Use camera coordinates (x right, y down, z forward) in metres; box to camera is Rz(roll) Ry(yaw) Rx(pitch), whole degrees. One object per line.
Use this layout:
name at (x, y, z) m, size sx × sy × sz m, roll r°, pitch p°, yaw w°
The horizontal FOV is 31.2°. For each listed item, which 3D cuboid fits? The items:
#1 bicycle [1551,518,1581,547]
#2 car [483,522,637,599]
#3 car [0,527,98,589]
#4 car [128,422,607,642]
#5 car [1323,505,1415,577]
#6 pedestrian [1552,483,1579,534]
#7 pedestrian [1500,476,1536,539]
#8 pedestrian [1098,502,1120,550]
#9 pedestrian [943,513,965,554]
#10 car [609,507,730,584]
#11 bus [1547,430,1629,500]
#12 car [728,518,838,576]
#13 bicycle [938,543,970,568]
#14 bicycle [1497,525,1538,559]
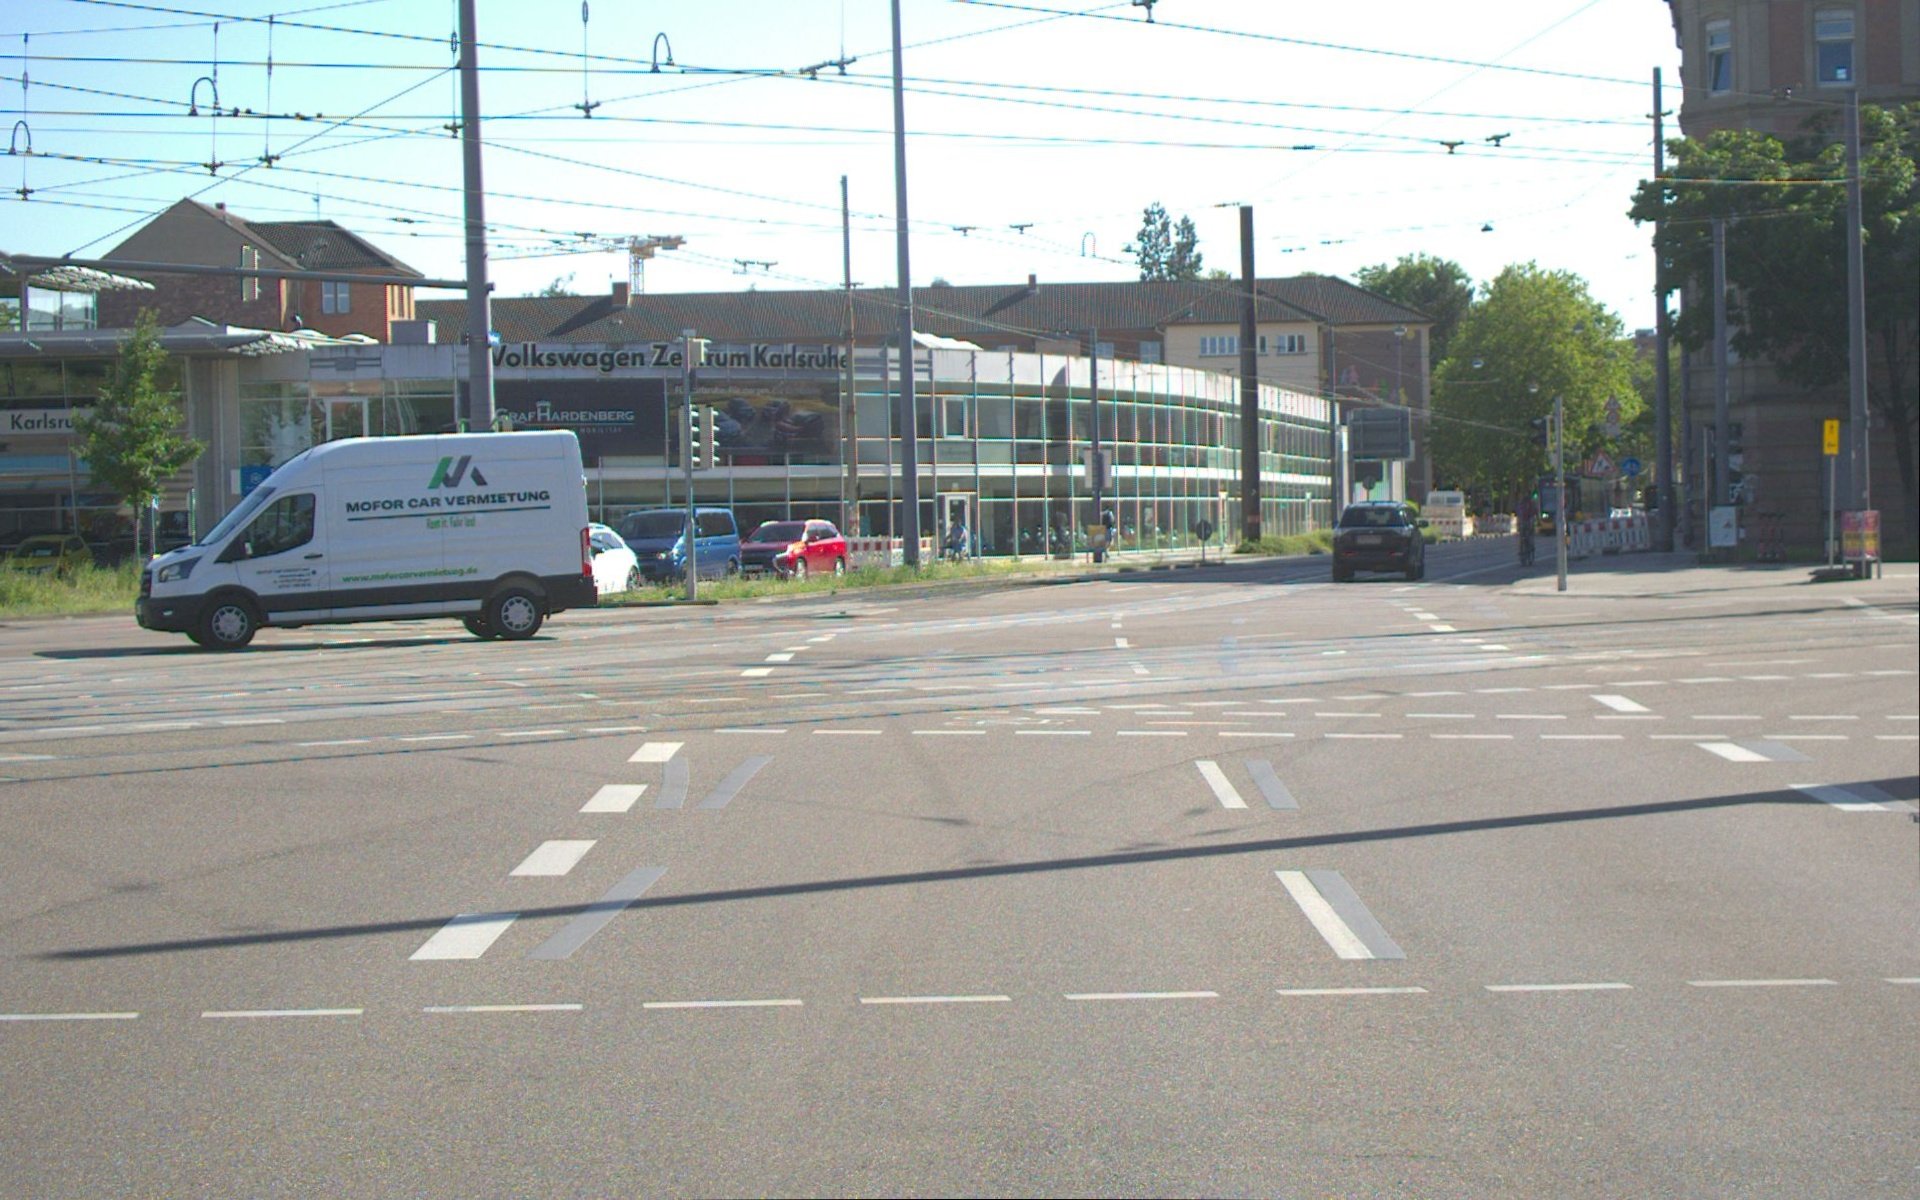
bicycle at (18.488, -2.060, 104.894) m, size 0.743 × 0.867 × 1.930 m, roll -1°, pitch 1°, yaw 15°
car at (-7.524, -0.765, 64.944) m, size 1.627 × 1.377 × 3.735 m, roll -1°, pitch 1°, yaw 14°
car at (-26.538, -1.235, 99.873) m, size 1.966 × 1.700 × 4.084 m, roll -1°, pitch 1°, yaw -1°
car at (-7.844, -0.931, 45.528) m, size 5.903 × 2.735 × 2.145 m, roll -2°, pitch 1°, yaw -20°
car at (8.866, -1.292, 74.254) m, size 1.700 × 1.497 × 4.263 m, roll -1°, pitch 1°, yaw 10°
pedestrian at (18.469, -2.788, 104.856) m, size 0.746 × 1.517 × 0.717 m, roll -1°, pitch 1°, yaw 15°
pedestrian at (14.552, -2.403, 89.705) m, size 0.803 × 1.626 × 0.717 m, roll -1°, pitch 1°, yaw 19°
pedestrian at (5.225, -2.601, 120.760) m, size 0.543 × 1.683 × 0.629 m, roll -1°, pitch 1°, yaw 23°
pedestrian at (-0.177, -1.977, 102.407) m, size 0.423 × 1.200 × 0.680 m, roll -1°, pitch 1°, yaw 21°
car at (-6.650, -1.272, 78.955) m, size 1.627 × 1.686 × 3.683 m, roll -1°, pitch 1°, yaw 14°
bus at (38.192, -8.066, 208.350) m, size 3.839 × 3.595 × 24.852 m, roll 1°, pitch 1°, yaw 13°
car at (-4.402, -1.343, 86.083) m, size 1.627 × 1.359 × 3.683 m, roll -1°, pitch 1°, yaw 16°
bicycle at (-0.165, -1.329, 102.426) m, size 0.423 × 0.715 × 1.473 m, roll -1°, pitch 1°, yaw 21°
bicycle at (14.509, -1.518, 89.432) m, size 0.743 × 0.867 × 1.929 m, roll -1°, pitch 1°, yaw 18°
